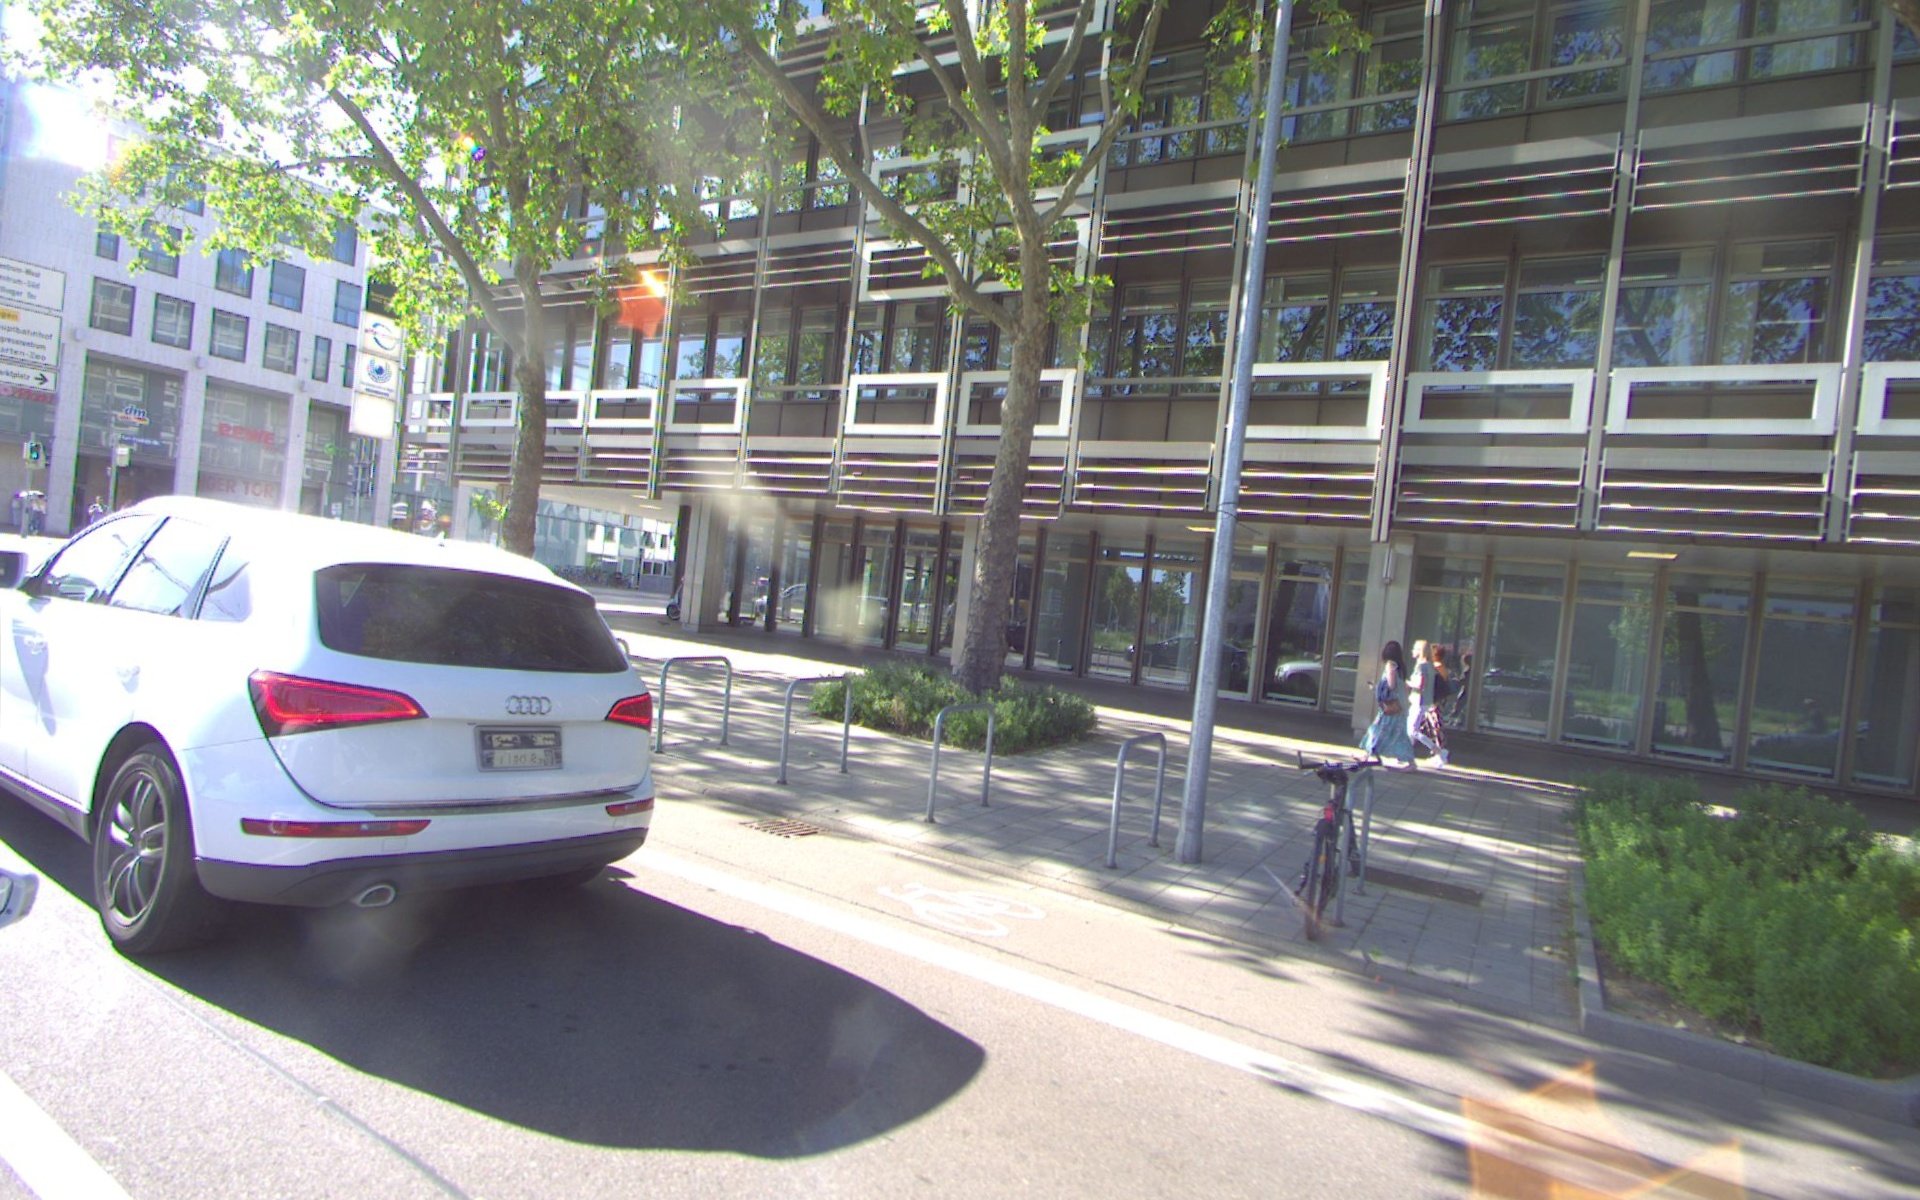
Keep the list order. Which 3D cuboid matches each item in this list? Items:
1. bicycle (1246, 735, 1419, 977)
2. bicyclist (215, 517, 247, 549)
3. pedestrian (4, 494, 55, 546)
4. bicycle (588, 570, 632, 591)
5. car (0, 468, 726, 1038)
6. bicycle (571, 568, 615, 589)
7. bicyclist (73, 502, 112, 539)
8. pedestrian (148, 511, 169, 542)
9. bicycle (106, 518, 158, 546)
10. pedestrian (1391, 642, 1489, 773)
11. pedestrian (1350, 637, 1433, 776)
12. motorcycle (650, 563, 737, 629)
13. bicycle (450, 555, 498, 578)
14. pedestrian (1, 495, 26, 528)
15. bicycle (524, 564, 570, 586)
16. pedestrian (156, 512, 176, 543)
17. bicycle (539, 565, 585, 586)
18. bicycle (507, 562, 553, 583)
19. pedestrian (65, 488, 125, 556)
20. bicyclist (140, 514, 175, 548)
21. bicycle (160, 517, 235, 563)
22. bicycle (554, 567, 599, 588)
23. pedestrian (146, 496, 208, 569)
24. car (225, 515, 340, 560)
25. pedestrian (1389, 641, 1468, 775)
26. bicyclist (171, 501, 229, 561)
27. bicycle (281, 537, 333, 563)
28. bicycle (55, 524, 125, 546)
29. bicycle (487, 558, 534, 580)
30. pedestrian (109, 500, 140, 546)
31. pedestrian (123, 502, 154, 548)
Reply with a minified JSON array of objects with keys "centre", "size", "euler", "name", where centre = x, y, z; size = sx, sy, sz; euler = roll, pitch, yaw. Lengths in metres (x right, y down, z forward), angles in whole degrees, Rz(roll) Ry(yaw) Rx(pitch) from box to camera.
[{"centre":[2.324,1.446,6.127],"size":[0.699,0.973,1.846],"euler":[7,2,26],"name":"bicycle"},{"centre":[-36.407,-3.354,50.252],"size":[1.024,1.451,0.933],"euler":[7,1,35],"name":"bicyclist"},{"centre":[-35.346,-3.042,38.209],"size":[1.497,1.825,0.967],"euler":[6,2,31],"name":"pedestrian"},{"centre":[-25.256,-1.406,72.643],"size":[3.441,1.107,1.067],"euler":[6,0,34],"name":"bicycle"},{"centre":[-3.440,0.349,4.909],"size":[4.340,1.633,1.822],"euler":[7,0,32],"name":"car"},{"centre":[-25.977,-1.525,71.188],"size":[3.441,1.107,1.067],"euler":[6,0,34],"name":"bicycle"},{"centre":[-39.409,-3.627,45.710],"size":[1.055,1.494,1.022],"euler":[7,0,35],"name":"bicyclist"},{"centre":[-48.157,-4.398,60.430],"size":[0.639,1.785,0.556],"euler":[7,1,-5],"name":"pedestrian"},{"centre":[-40.791,-3.350,49.544],"size":[2.943,1.107,1.067],"euler":[6,0,33],"name":"bicycle"},{"centre":[6.569,1.437,13.763],"size":[0.992,1.622,0.666],"euler":[7,3,32],"name":"pedestrian"},{"centre":[5.457,1.321,12.724],"size":[0.716,1.622,0.666],"euler":[7,3,32],"name":"pedestrian"},{"centre":[-6.847,-0.106,25.818],"size":[2.087,1.459,0.824],"euler":[6,0,32],"name":"motorcycle"},{"centre":[-30.939,-2.143,64.044],"size":[3.441,1.107,1.067],"euler":[6,0,34],"name":"bicycle"},{"centre":[-49.634,-4.646,52.763],"size":[0.547,1.628,0.748],"euler":[7,1,30],"name":"pedestrian"},{"centre":[-28.048,-1.703,68.280],"size":[3.441,1.107,1.067],"euler":[6,0,34],"name":"bicycle"},{"centre":[-48.245,-4.395,61.118],"size":[0.639,1.785,0.556],"euler":[7,1,-5],"name":"pedestrian"},{"centre":[-27.458,-1.689,69.366],"size":[3.441,1.107,1.067],"euler":[6,0,34],"name":"bicycle"},{"centre":[-28.800,-1.852,67.370],"size":[3.441,1.107,1.067],"euler":[6,0,34],"name":"bicycle"},{"centre":[-28.191,-2.539,32.788],"size":[1.059,2.039,0.949],"euler":[7,1,20],"name":"pedestrian"},{"centre":[-38.069,-3.277,47.723],"size":[1.059,1.413,0.933],"euler":[6,0,35],"name":"bicyclist"},{"centre":[-20.817,-1.640,27.463],"size":[2.017,0.997,0.882],"euler":[7,0,31],"name":"bicycle"},{"centre":[-26.851,-1.584,70.369],"size":[3.441,1.107,1.067],"euler":[6,0,34],"name":"bicycle"},{"centre":[-23.865,-2.041,30.683],"size":[1.060,2.038,0.949],"euler":[7,0,24],"name":"pedestrian"},{"centre":[-32.704,-2.983,48.664],"size":[1.831,1.632,4.188],"euler":[5,-1,33],"name":"car"},{"centre":[6.143,1.381,13.182],"size":[0.716,1.622,0.666],"euler":[7,3,32],"name":"pedestrian"},{"centre":[-20.709,-1.875,27.420],"size":[0.869,1.495,0.882],"euler":[7,1,31],"name":"bicyclist"},{"centre":[-36.155,-2.794,55.707],"size":[3.441,1.107,1.067],"euler":[6,0,34],"name":"bicycle"},{"centre":[-39.495,-2.940,45.681],"size":[1.055,0.679,2.194],"euler":[6,-1,34],"name":"bicycle"},{"centre":[-29.468,-2.055,65.876],"size":[3.441,1.107,1.067],"euler":[6,0,34],"name":"bicycle"},{"centre":[-31.133,-2.853,37.496],"size":[0.517,1.634,0.661],"euler":[6,2,22],"name":"pedestrian"},{"centre":[-30.505,-2.772,37.371],"size":[0.517,1.634,0.661],"euler":[6,2,22],"name":"pedestrian"}]
